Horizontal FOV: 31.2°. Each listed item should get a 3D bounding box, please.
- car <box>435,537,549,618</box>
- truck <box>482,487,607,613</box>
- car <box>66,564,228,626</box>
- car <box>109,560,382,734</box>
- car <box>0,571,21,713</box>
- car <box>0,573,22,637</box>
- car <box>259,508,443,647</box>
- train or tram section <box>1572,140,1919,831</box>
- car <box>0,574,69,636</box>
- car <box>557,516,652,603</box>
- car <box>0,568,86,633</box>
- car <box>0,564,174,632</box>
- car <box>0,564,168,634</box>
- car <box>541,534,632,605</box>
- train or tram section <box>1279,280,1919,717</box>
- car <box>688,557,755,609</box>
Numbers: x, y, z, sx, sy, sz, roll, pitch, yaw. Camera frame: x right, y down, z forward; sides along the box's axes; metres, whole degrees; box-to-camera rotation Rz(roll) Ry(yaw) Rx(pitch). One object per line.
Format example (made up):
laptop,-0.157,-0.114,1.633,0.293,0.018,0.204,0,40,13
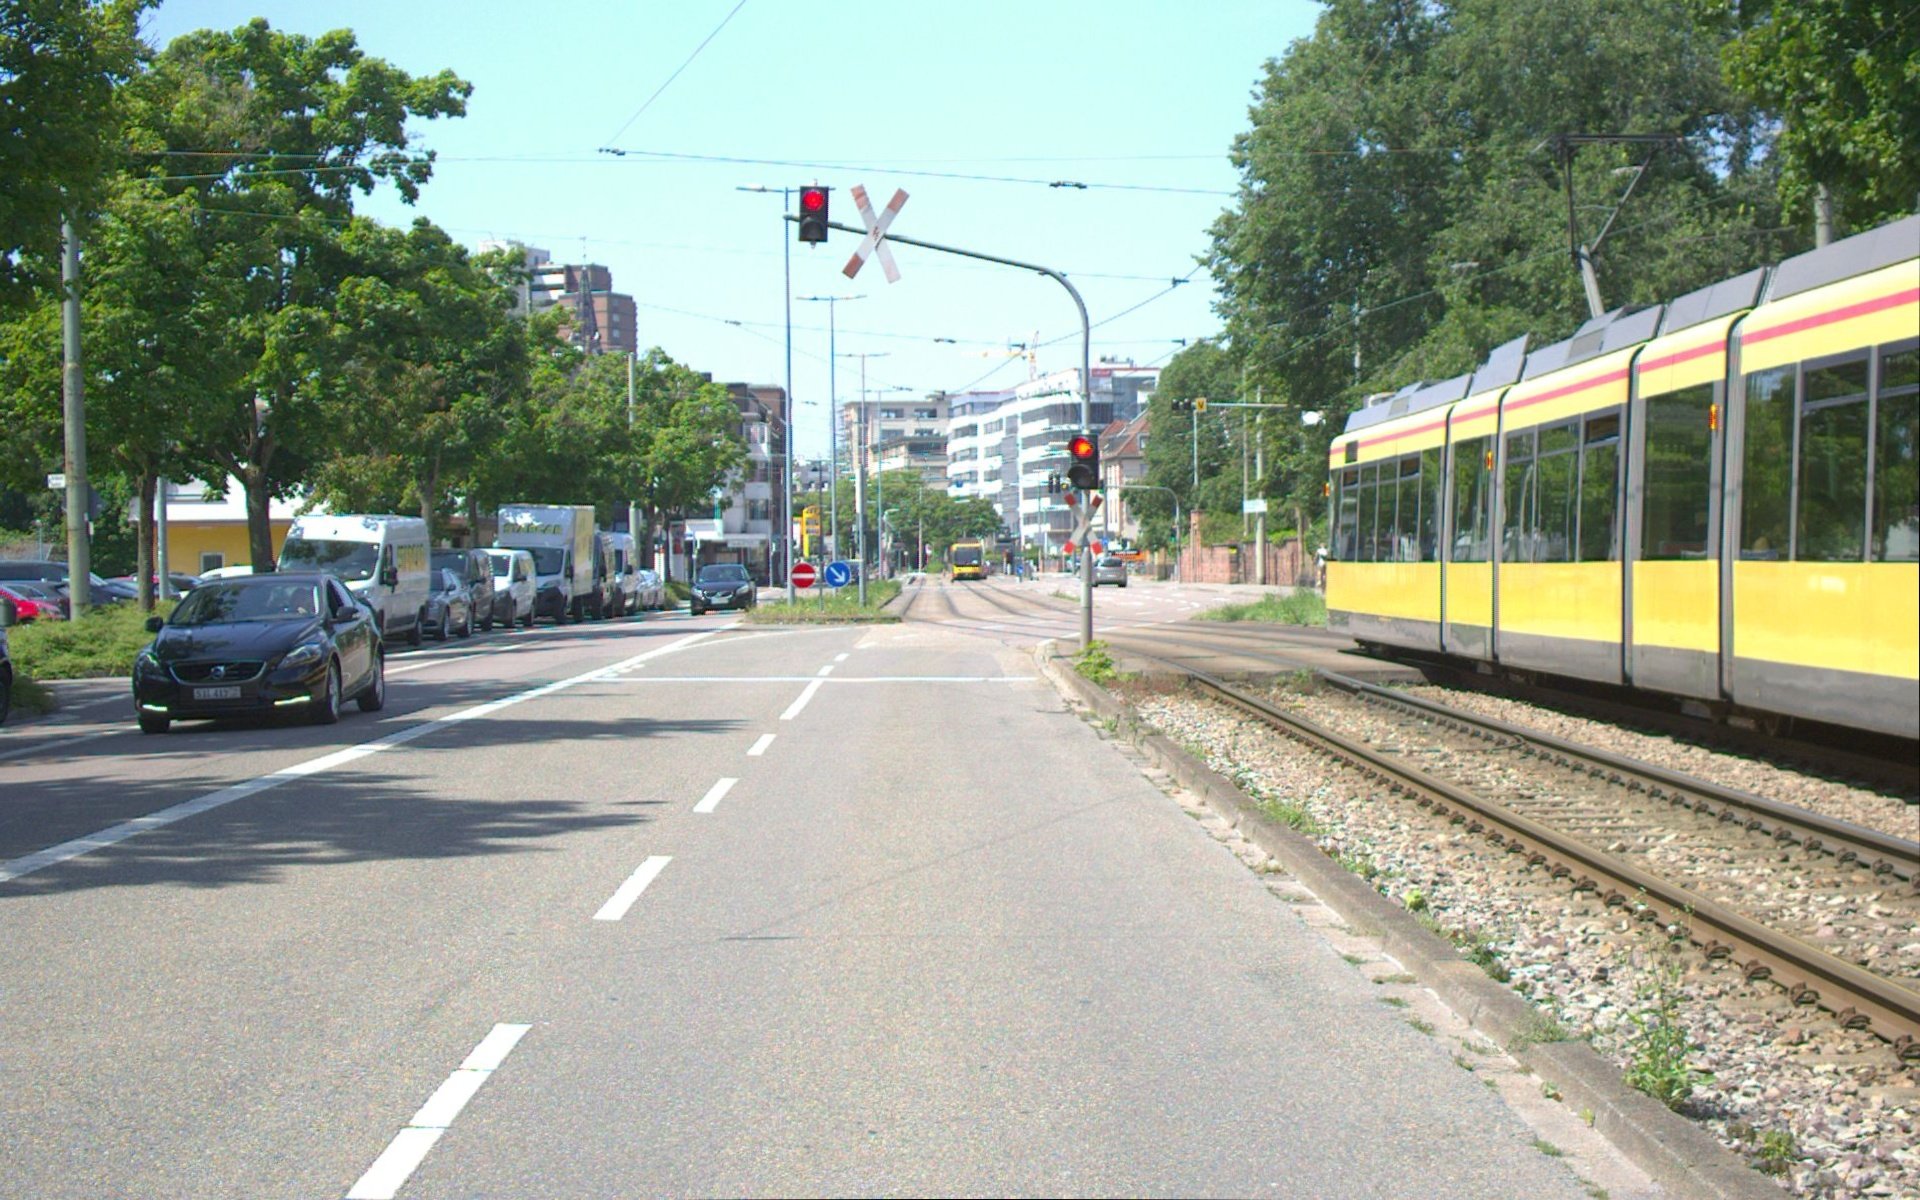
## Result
car,-11.447,-0.562,84.368,2.061,1.891,4.871,-1,1,0
truck,-11.138,-1.352,92.726,2.157,3.199,7.082,2,1,2
car,-22.233,-0.142,94.107,3.987,1.601,1.805,-1,1,-1
car,-6.646,0.394,32.384,1.774,1.455,4.195,-2,1,-2
car,-10.911,0.452,34.698,1.774,1.476,4.048,1,1,0
car,-22.400,0.127,73.901,3.987,1.334,1.805,-1,1,-1
car,-11.373,-0.456,64.633,2.157,2.478,6.192,0,1,2
train or tram section,6.594,-0.630,19.857,2.943,3.679,18.390,0,1,0
car,-22.051,0.127,76.462,3.987,1.334,1.805,-1,1,-1
car,-11.118,-1.290,107.964,2.157,2.630,5.611,1,1,2
car,-22.198,0.023,78.492,3.987,1.437,1.805,-1,1,-1
car,-21.904,-0.061,86.125,3.987,1.601,1.805,-1,1,-1
car,-21.069,-0.031,81.842,3.987,1.601,1.805,-1,1,-1
car,-10.795,-0.907,99.672,2.061,1.970,4.871,-1,1,0
train or tram section,6.387,-1.035,39.215,2.943,3.679,20.286,0,1,-2
car,-6.906,-0.517,99.774,1.678,1.393,4.006,-3,1,-1
